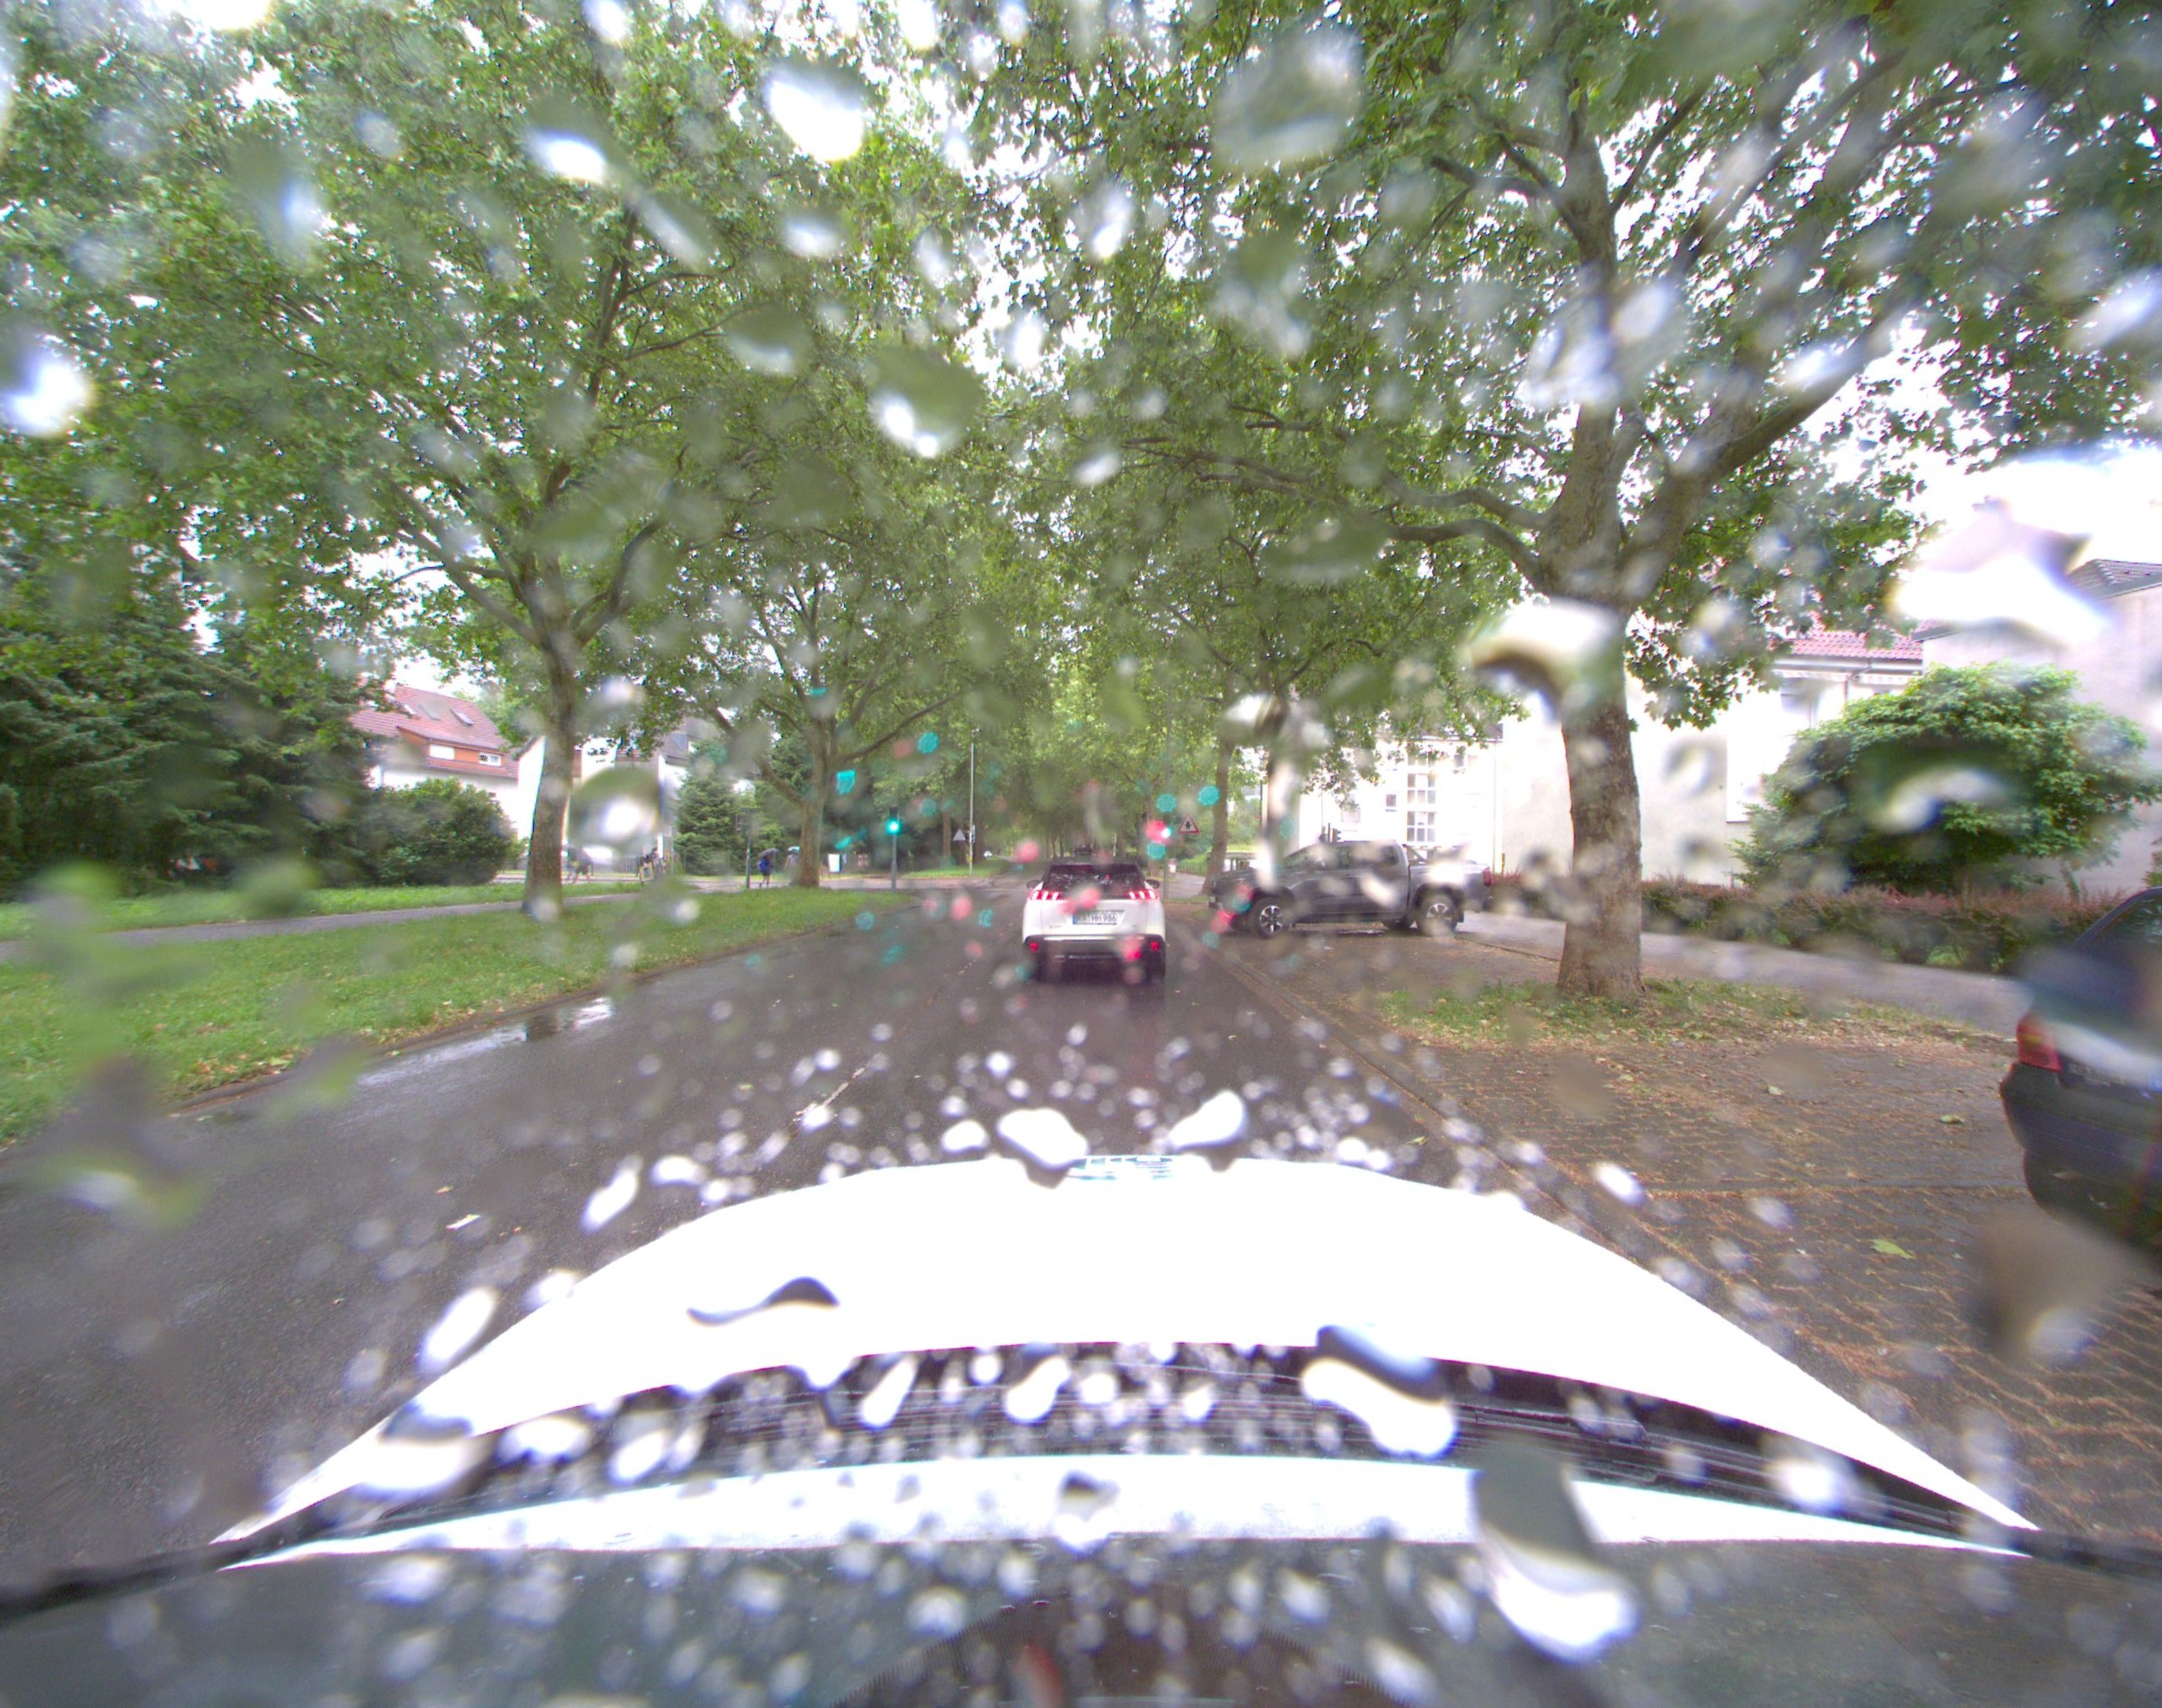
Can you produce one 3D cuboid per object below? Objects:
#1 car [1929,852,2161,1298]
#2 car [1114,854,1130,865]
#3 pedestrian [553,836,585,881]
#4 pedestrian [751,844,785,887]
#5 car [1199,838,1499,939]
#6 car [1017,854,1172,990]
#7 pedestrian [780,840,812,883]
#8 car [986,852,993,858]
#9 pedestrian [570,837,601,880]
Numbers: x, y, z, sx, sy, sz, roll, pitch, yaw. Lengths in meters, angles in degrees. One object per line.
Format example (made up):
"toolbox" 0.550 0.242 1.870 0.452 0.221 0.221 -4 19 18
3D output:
"car" 5.223 0.733 2.619 3.344 1.464 1.618 0 0 0
"car" 5.576 0.752 111.774 1.901 1.510 3.928 1 0 -2
"pedestrian" -20.289 0.177 32.267 0.818 1.744 0.639 1 0 -2
"pedestrian" -13.054 0.487 33.989 1.029 1.765 0.879 0 0 1
"car" 5.137 0.621 15.965 5.330 1.806 1.842 0 0 -6
"car" 0.207 0.772 11.328 1.774 1.536 4.059 0 0 1
"pedestrian" -11.871 0.305 33.931 1.029 1.765 0.838 0 0 1
"car" -26.933 0.341 239.911 1.869 1.677 3.705 1 0 -2
"pedestrian" -20.210 0.179 33.244 0.856 1.744 0.639 1 0 -2
